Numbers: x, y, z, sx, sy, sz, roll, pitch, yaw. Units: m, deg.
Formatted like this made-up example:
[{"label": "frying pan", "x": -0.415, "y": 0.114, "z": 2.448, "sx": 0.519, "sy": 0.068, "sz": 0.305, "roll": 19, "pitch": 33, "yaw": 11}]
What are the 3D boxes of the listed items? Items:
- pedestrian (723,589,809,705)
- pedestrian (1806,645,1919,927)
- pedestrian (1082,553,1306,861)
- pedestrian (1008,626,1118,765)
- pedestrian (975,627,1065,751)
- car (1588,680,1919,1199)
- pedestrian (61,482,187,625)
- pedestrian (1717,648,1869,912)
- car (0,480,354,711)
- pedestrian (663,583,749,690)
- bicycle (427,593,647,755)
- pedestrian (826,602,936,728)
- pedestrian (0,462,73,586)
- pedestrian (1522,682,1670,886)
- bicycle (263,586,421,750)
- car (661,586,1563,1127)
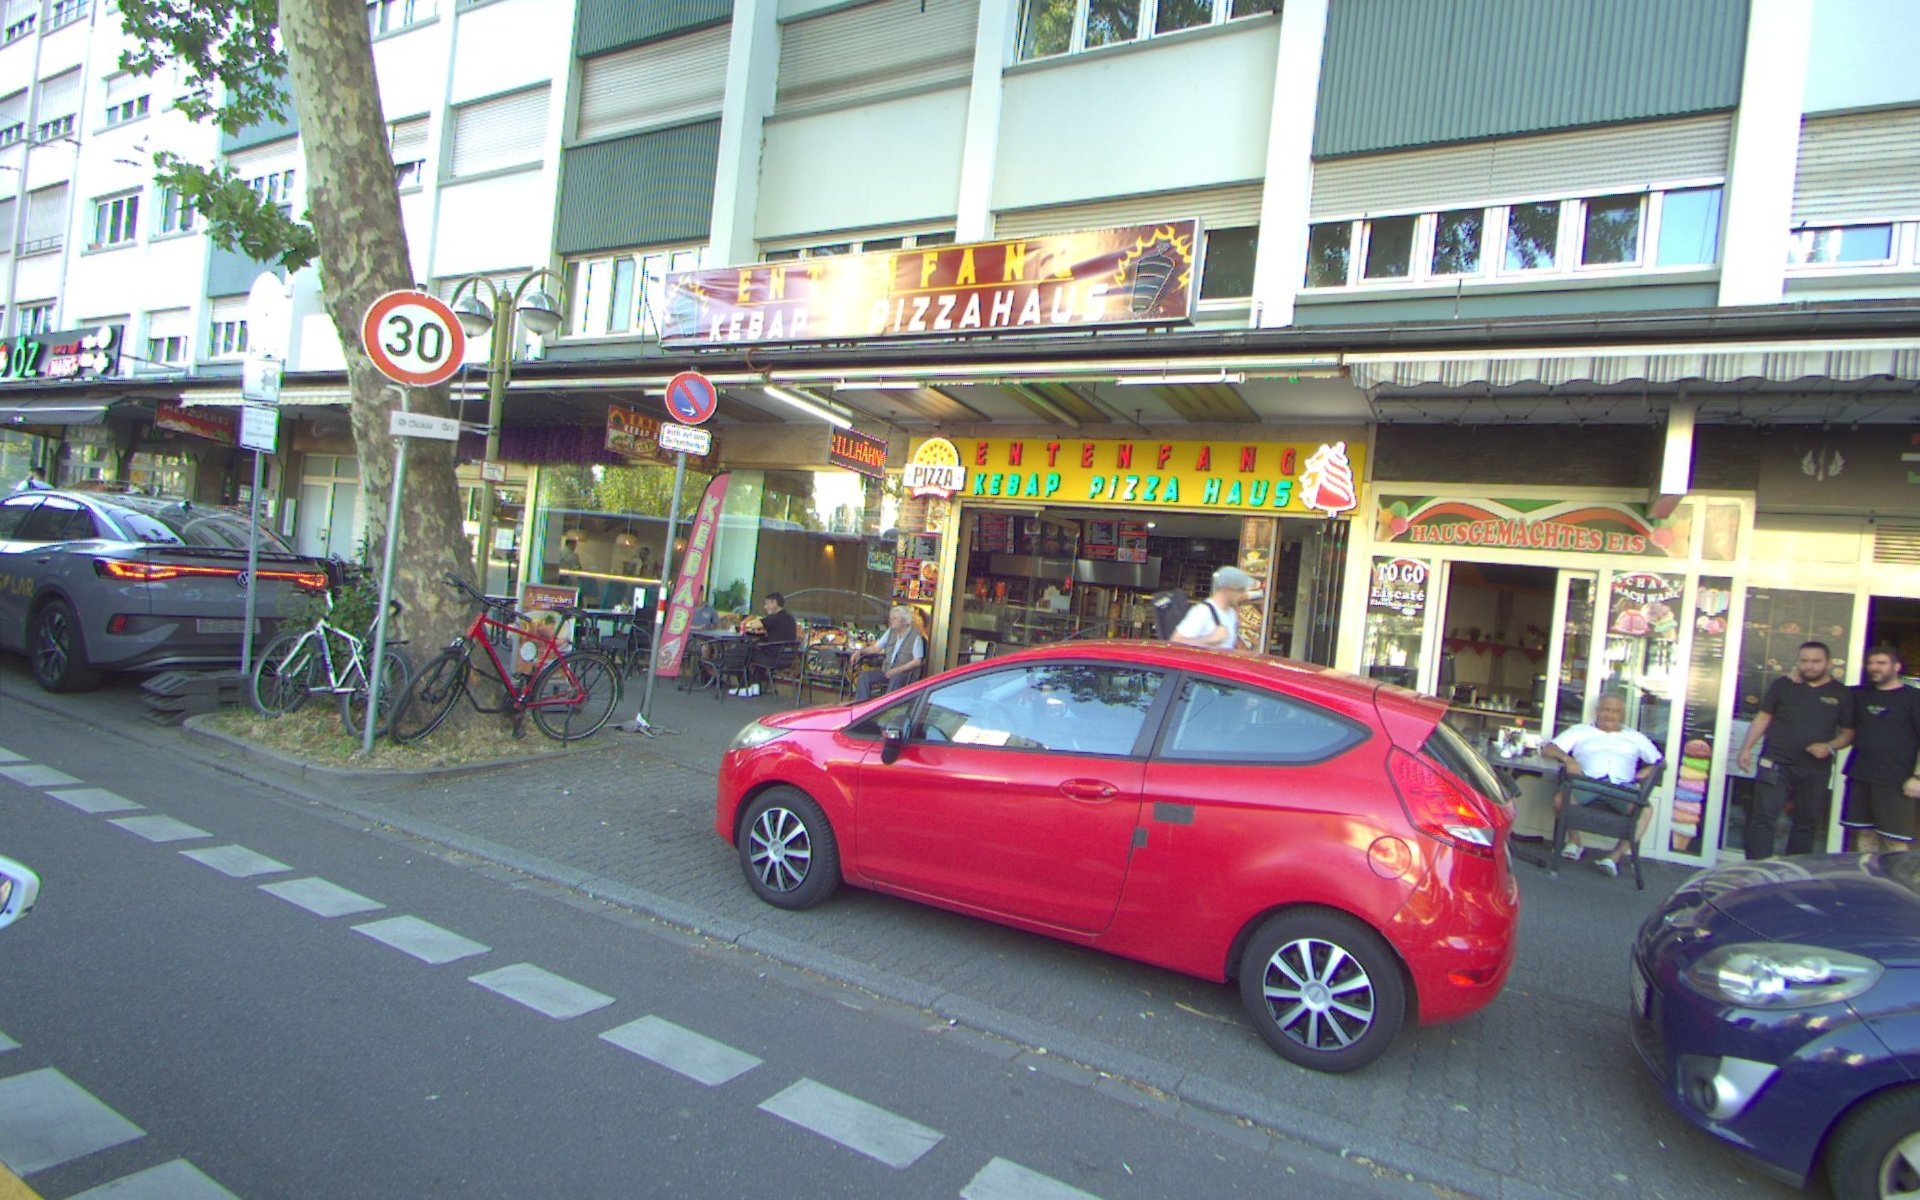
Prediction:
[{"label": "pedestrian", "x": -2.261, "y": 0.535, "z": 11.729, "sx": 0.701, "sy": 1.260, "sz": 0.614, "roll": 6, "pitch": 3, "yaw": 41}, {"label": "pedestrian", "x": 6.353, "y": 1.234, "z": 6.847, "sx": 0.636, "sy": 1.783, "sz": 0.610, "roll": 8, "pitch": 3, "yaw": 33}, {"label": "pedestrian", "x": 1.681, "y": 0.710, "z": 7.162, "sx": 1.104, "sy": 1.913, "sz": 1.023, "roll": 6, "pitch": 0, "yaw": 31}, {"label": "pedestrian", "x": 0.960, "y": 0.859, "z": 9.340, "sx": 0.740, "sy": 1.172, "sz": 0.593, "roll": 6, "pitch": 3, "yaw": 33}, {"label": "pedestrian", "x": 0.618, "y": 0.886, "z": 10.312, "sx": 0.585, "sy": 1.172, "sz": 0.671, "roll": 6, "pitch": 3, "yaw": 31}, {"label": "car", "x": 3.996, "y": 1.237, "z": 2.831, "sx": 3.543, "sy": 1.485, "sz": 1.620, "roll": 7, "pitch": 2, "yaw": 29}, {"label": "pedestrian", "x": -10.146, "y": -0.547, "z": 12.242, "sx": 0.739, "sy": 1.600, "sz": 0.875, "roll": 6, "pitch": 0, "yaw": -13}, {"label": "pedestrian", "x": 6.013, "y": 1.260, "z": 7.306, "sx": 0.588, "sy": 1.759, "sz": 0.587, "roll": 8, "pitch": 3, "yaw": 33}, {"label": "car", "x": -7.688, "y": -0.172, "z": 9.115, "sx": 4.223, "sy": 1.619, "sz": 1.742, "roll": 6, "pitch": 2, "yaw": 27}, {"label": "pedestrian", "x": -3.106, "y": 0.434, "z": 12.293, "sx": 0.694, "sy": 1.220, "sz": 0.675, "roll": 7, "pitch": 3, "yaw": 42}, {"label": "bicycle", "x": -3.106, "y": 0.528, "z": 7.489, "sx": 0.291, "sy": 1.082, "sz": 1.455, "roll": 12, "pitch": 7, "yaw": 42}, {"label": "pedestrian", "x": -0.850, "y": 0.686, "z": 10.796, "sx": 0.861, "sy": 1.237, "sz": 0.688, "roll": 2, "pitch": 3, "yaw": -44}, {"label": "pedestrian", "x": -15.997, "y": -1.305, "z": 17.381, "sx": 0.702, "sy": 2.040, "sz": 0.769, "roll": 7, "pitch": 2, "yaw": 34}, {"label": "pedestrian", "x": 4.764, "y": 1.313, "z": 7.549, "sx": 0.767, "sy": 1.249, "sz": 1.202, "roll": 6, "pitch": 3, "yaw": 33}, {"label": "bicycle", "x": -4.318, "y": 0.449, "z": 7.011, "sx": 1.110, "sy": 0.941, "sz": 0.295, "roll": 9, "pitch": 6, "yaw": 21}, {"label": "car", "x": 0.603, "y": 0.864, "z": 4.923, "sx": 3.780, "sy": 1.448, "sz": 1.668, "roll": 6, "pitch": 2, "yaw": 27}]
